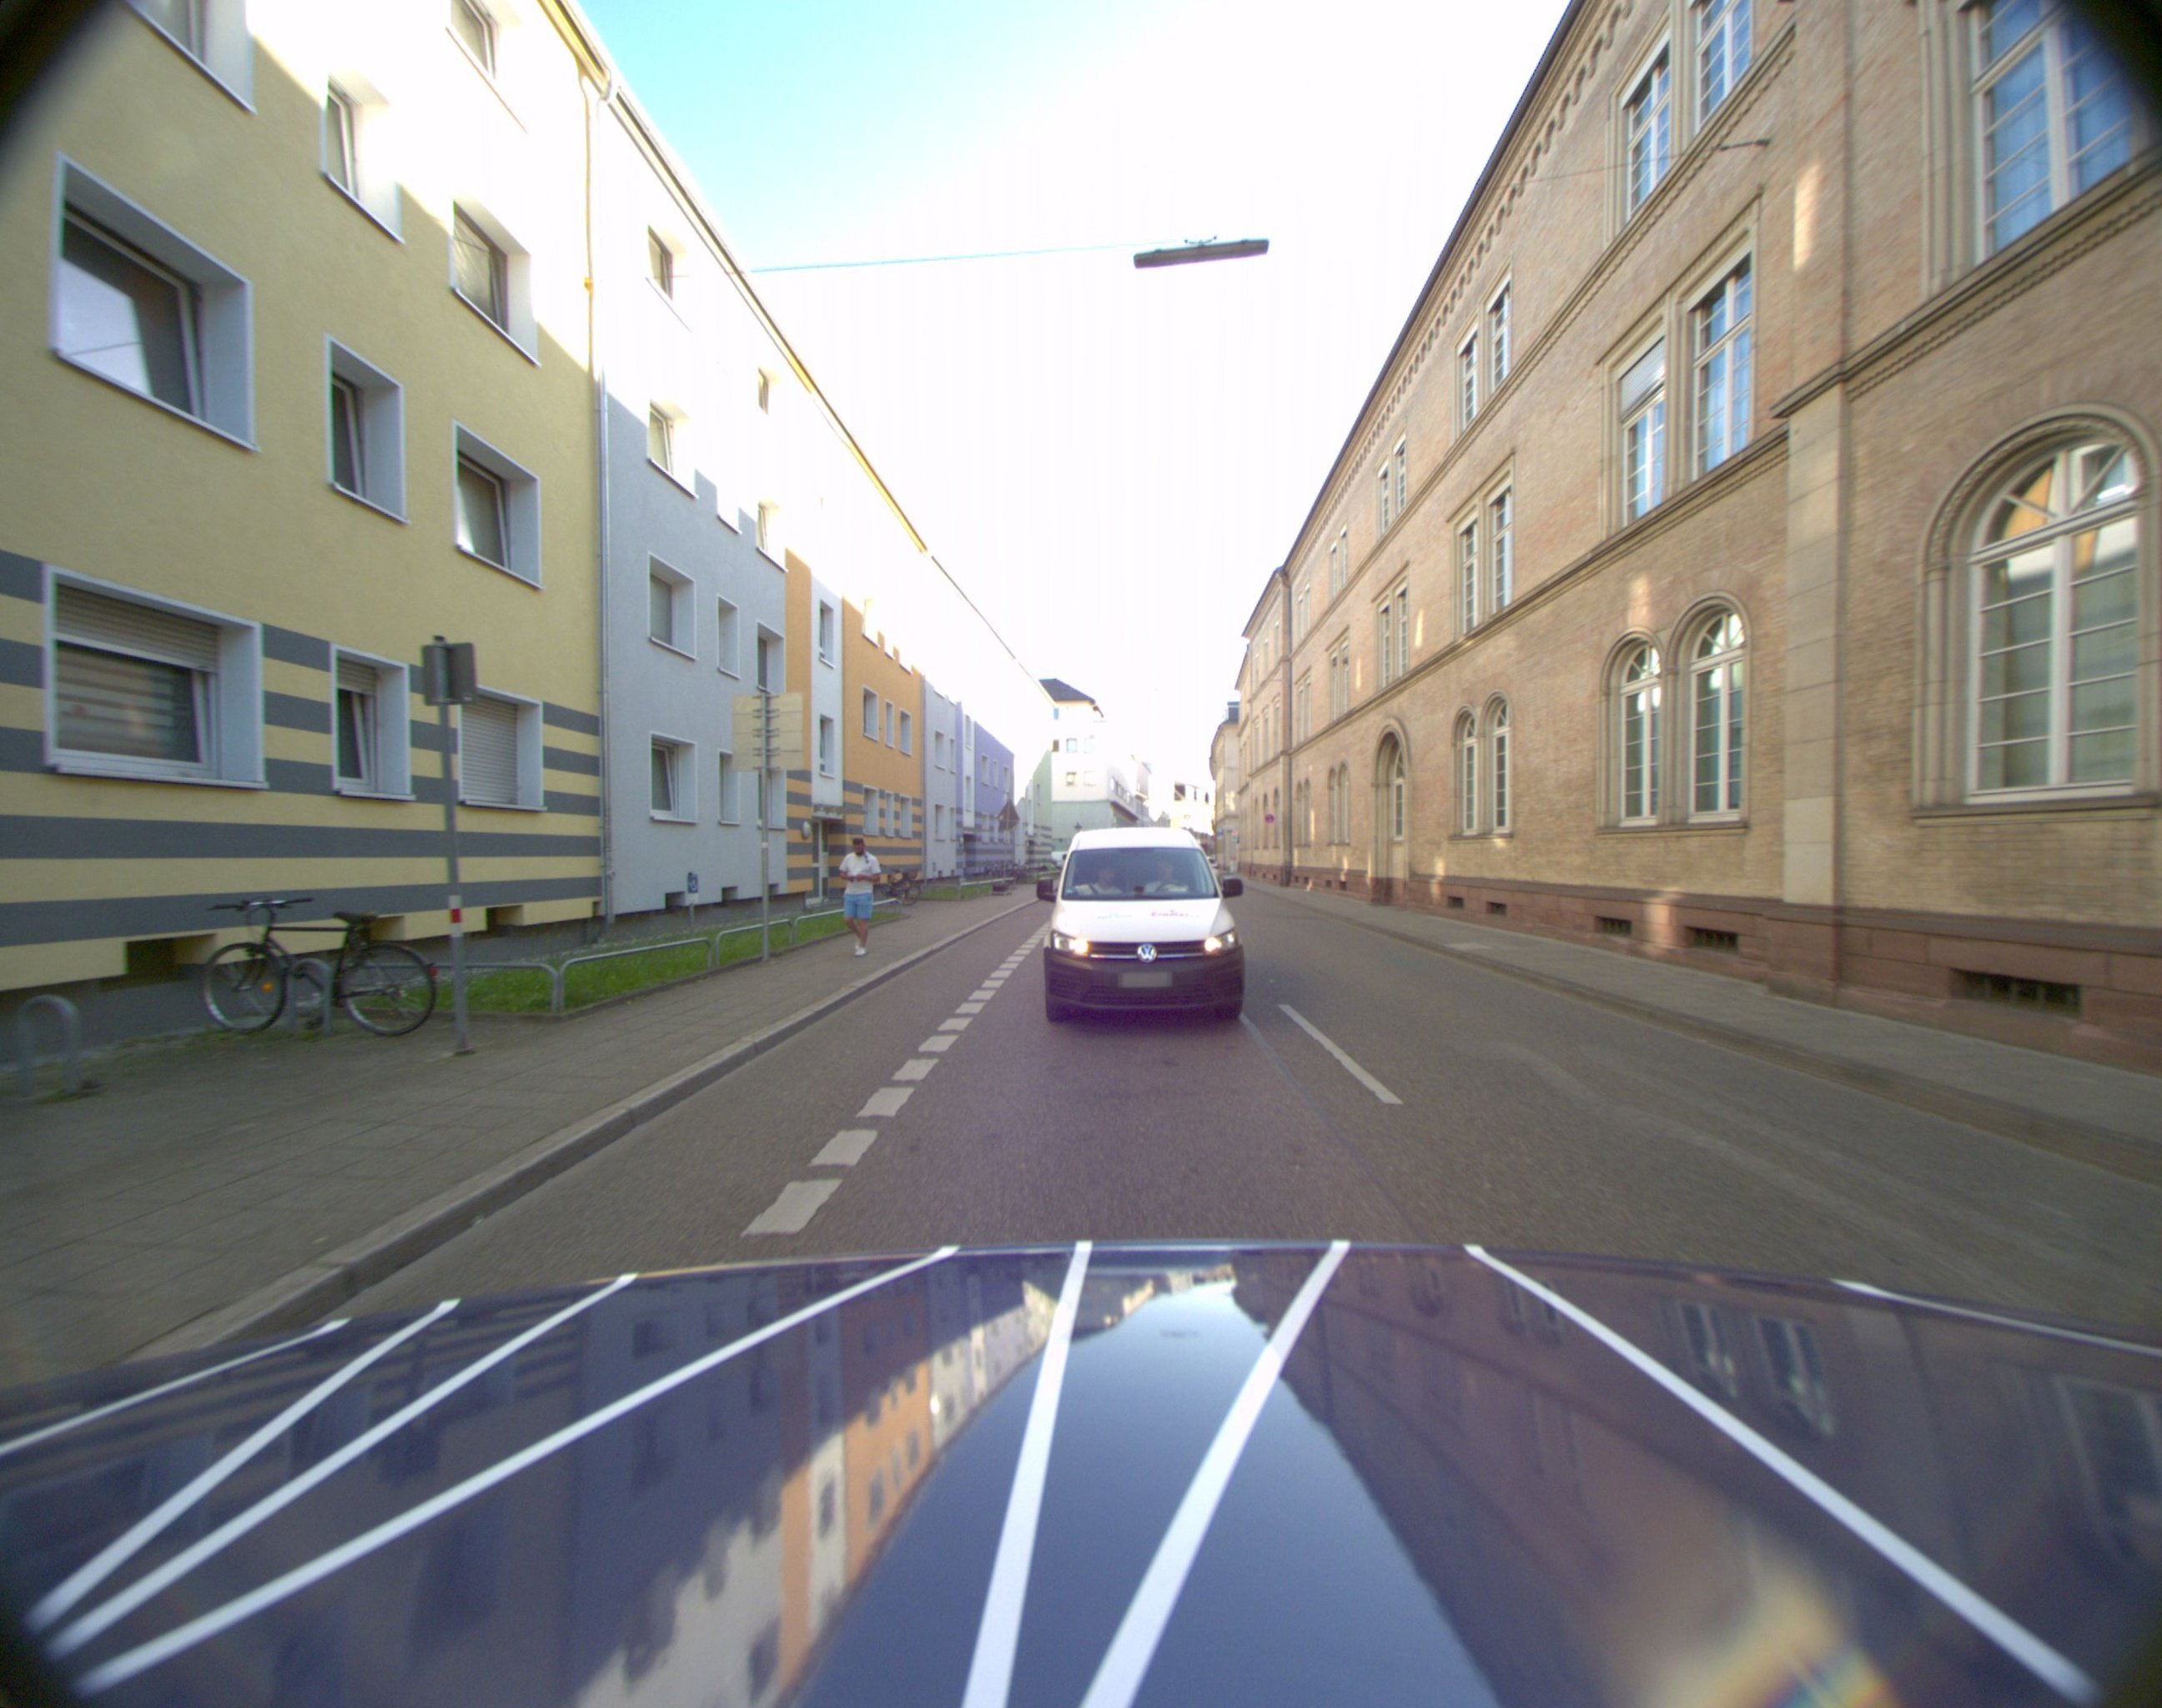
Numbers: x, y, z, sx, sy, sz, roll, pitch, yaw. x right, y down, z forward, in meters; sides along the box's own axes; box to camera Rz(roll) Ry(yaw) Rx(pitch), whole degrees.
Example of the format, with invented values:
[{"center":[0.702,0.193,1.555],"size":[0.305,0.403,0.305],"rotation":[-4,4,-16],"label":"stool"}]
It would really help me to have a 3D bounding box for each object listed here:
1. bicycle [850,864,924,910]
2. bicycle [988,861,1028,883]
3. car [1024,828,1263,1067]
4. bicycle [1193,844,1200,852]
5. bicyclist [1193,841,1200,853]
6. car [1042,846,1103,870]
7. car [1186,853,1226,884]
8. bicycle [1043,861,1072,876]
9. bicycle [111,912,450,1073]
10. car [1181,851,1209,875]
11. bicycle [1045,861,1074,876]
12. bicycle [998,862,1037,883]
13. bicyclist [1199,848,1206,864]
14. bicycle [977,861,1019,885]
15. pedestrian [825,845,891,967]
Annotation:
[{"center":[-5.062,0.863,19.873],"size":[1.776,1.118,0.583],"rotation":[1,1,0],"label":"bicycle"},{"center":[-3.466,0.841,35.950],"size":[1.775,0.990,0.584],"rotation":[2,1,8],"label":"bicycle"},{"center":[0.557,0.708,8.484],"size":[1.819,1.826,5.341],"rotation":[0,0,2],"label":"car"},{"center":[14.601,-0.758,96.060],"size":[0.651,1.001,1.808],"rotation":[2,1,13],"label":"bicycle"},{"center":[14.594,-0.857,96.051],"size":[0.651,1.558,0.962],"rotation":[2,1,13],"label":"bicyclist"},{"center":[-0.689,0.362,62.624],"size":[4.761,1.927,2.001],"rotation":[0,1,10],"label":"car"},{"center":[6.615,0.749,40.596],"size":[1.890,1.467,4.547],"rotation":[2,1,7],"label":"car"},{"center":[-1.532,0.934,48.793],"size":[1.775,0.934,0.584],"rotation":[2,1,8],"label":"bicycle"},{"center":[-5.770,0.989,5.551],"size":[1.777,1.043,0.583],"rotation":[1,1,-4],"label":"bicycle"},{"center":[8.092,0.626,54.243],"size":[1.689,1.573,4.276],"rotation":[2,1,5],"label":"car"},{"center":[-1.428,0.955,50.329],"size":[1.775,0.934,0.584],"rotation":[2,1,8],"label":"bicycle"},{"center":[-3.067,0.875,36.560],"size":[1.775,0.934,0.584],"rotation":[2,1,8],"label":"bicycle"},{"center":[11.151,0.189,69.518],"size":[0.604,1.434,0.578],"rotation":[0,1,5],"label":"bicyclist"},{"center":[-3.764,0.860,34.612],"size":[1.775,0.990,0.584],"rotation":[2,1,8],"label":"bicycle"},{"center":[-3.165,0.715,10.846],"size":[0.644,1.662,0.834],"rotation":[1,1,3],"label":"pedestrian"}]
